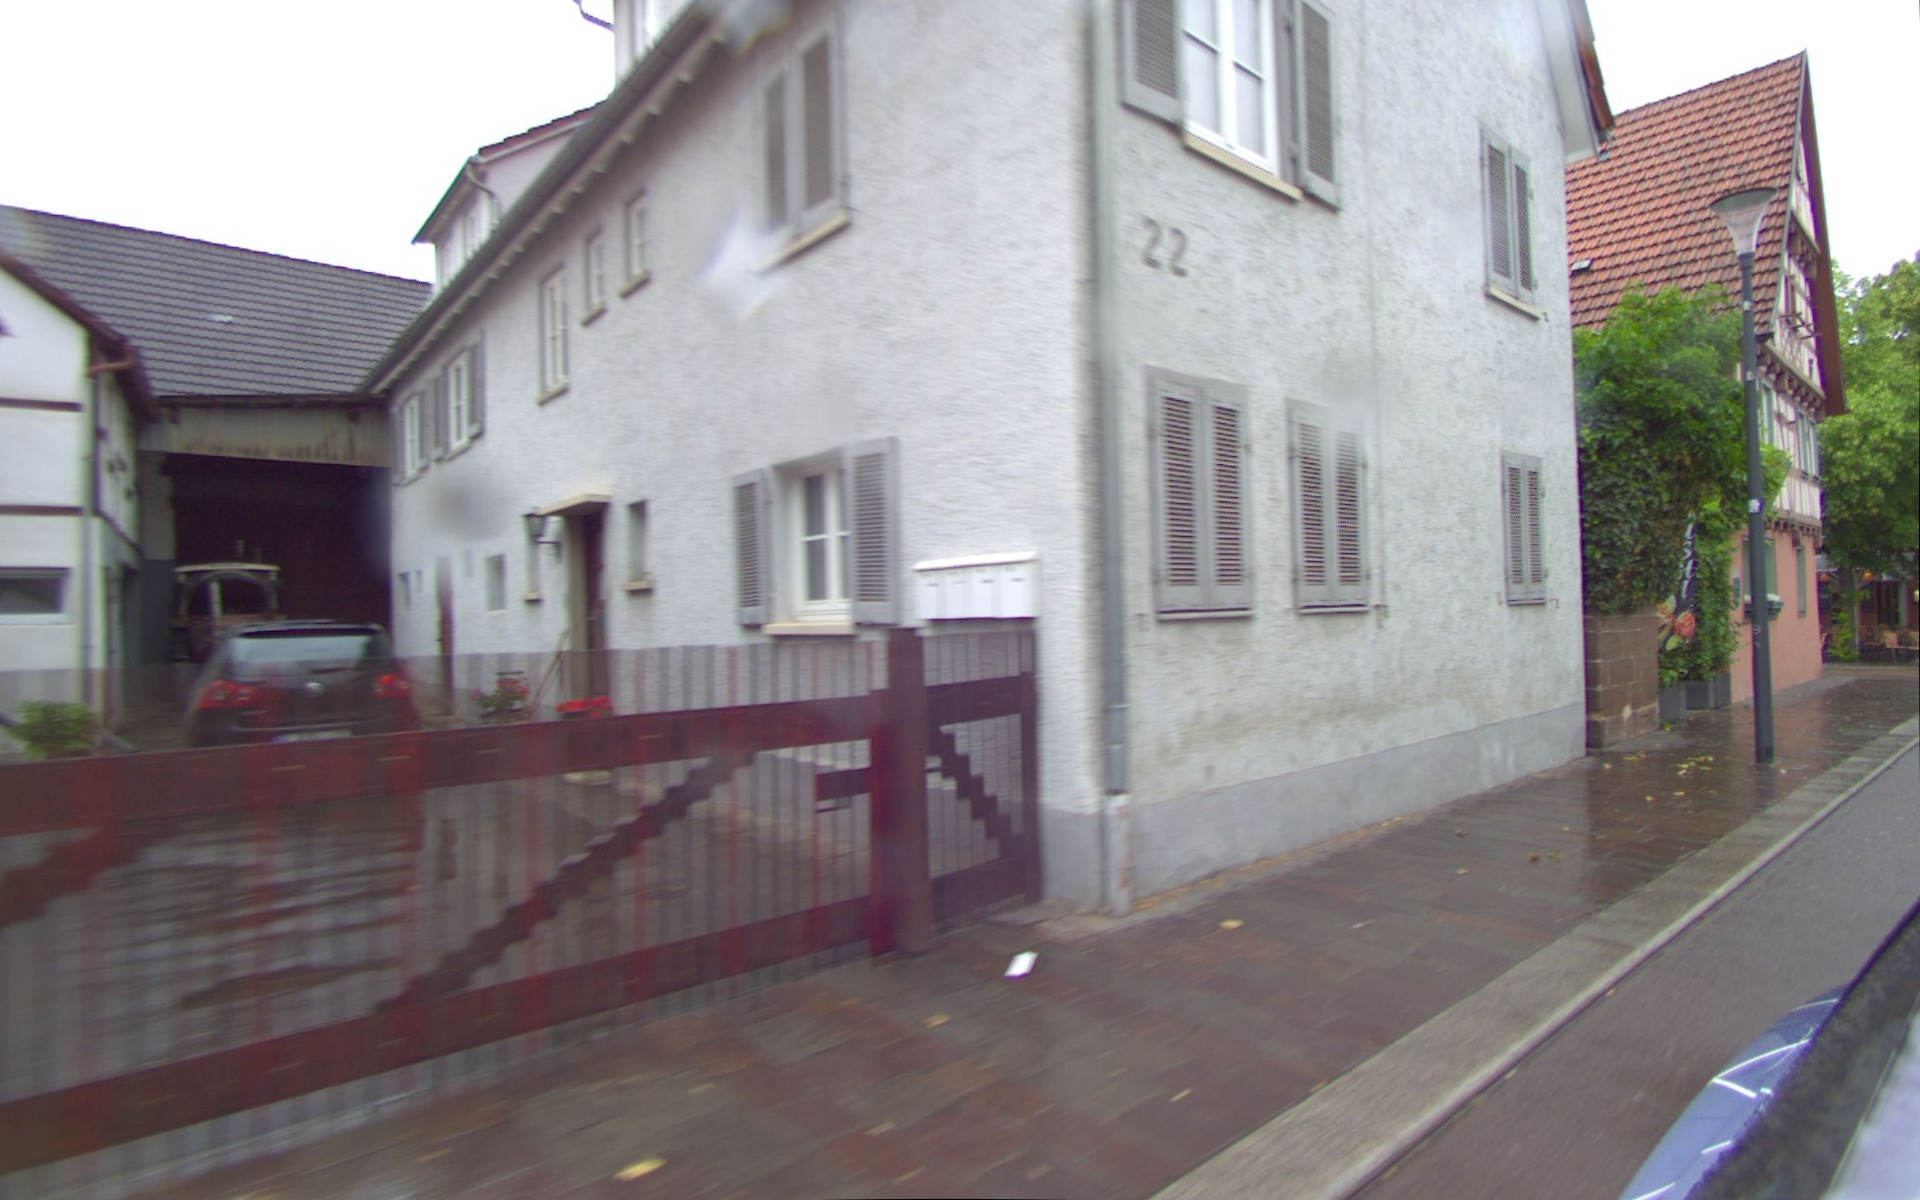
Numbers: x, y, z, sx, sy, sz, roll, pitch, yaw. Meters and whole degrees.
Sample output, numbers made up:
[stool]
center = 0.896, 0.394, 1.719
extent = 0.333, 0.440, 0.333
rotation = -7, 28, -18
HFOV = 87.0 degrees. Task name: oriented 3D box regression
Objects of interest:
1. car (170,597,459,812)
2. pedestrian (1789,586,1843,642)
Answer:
[car]
center = -6.399, 0.868, 9.893
extent = 1.963, 1.572, 3.996
rotation = -2, -1, -37
[pedestrian]
center = 27.258, 0.447, 32.248
extent = 0.874, 1.735, 0.886
rotation = -3, -1, 4
